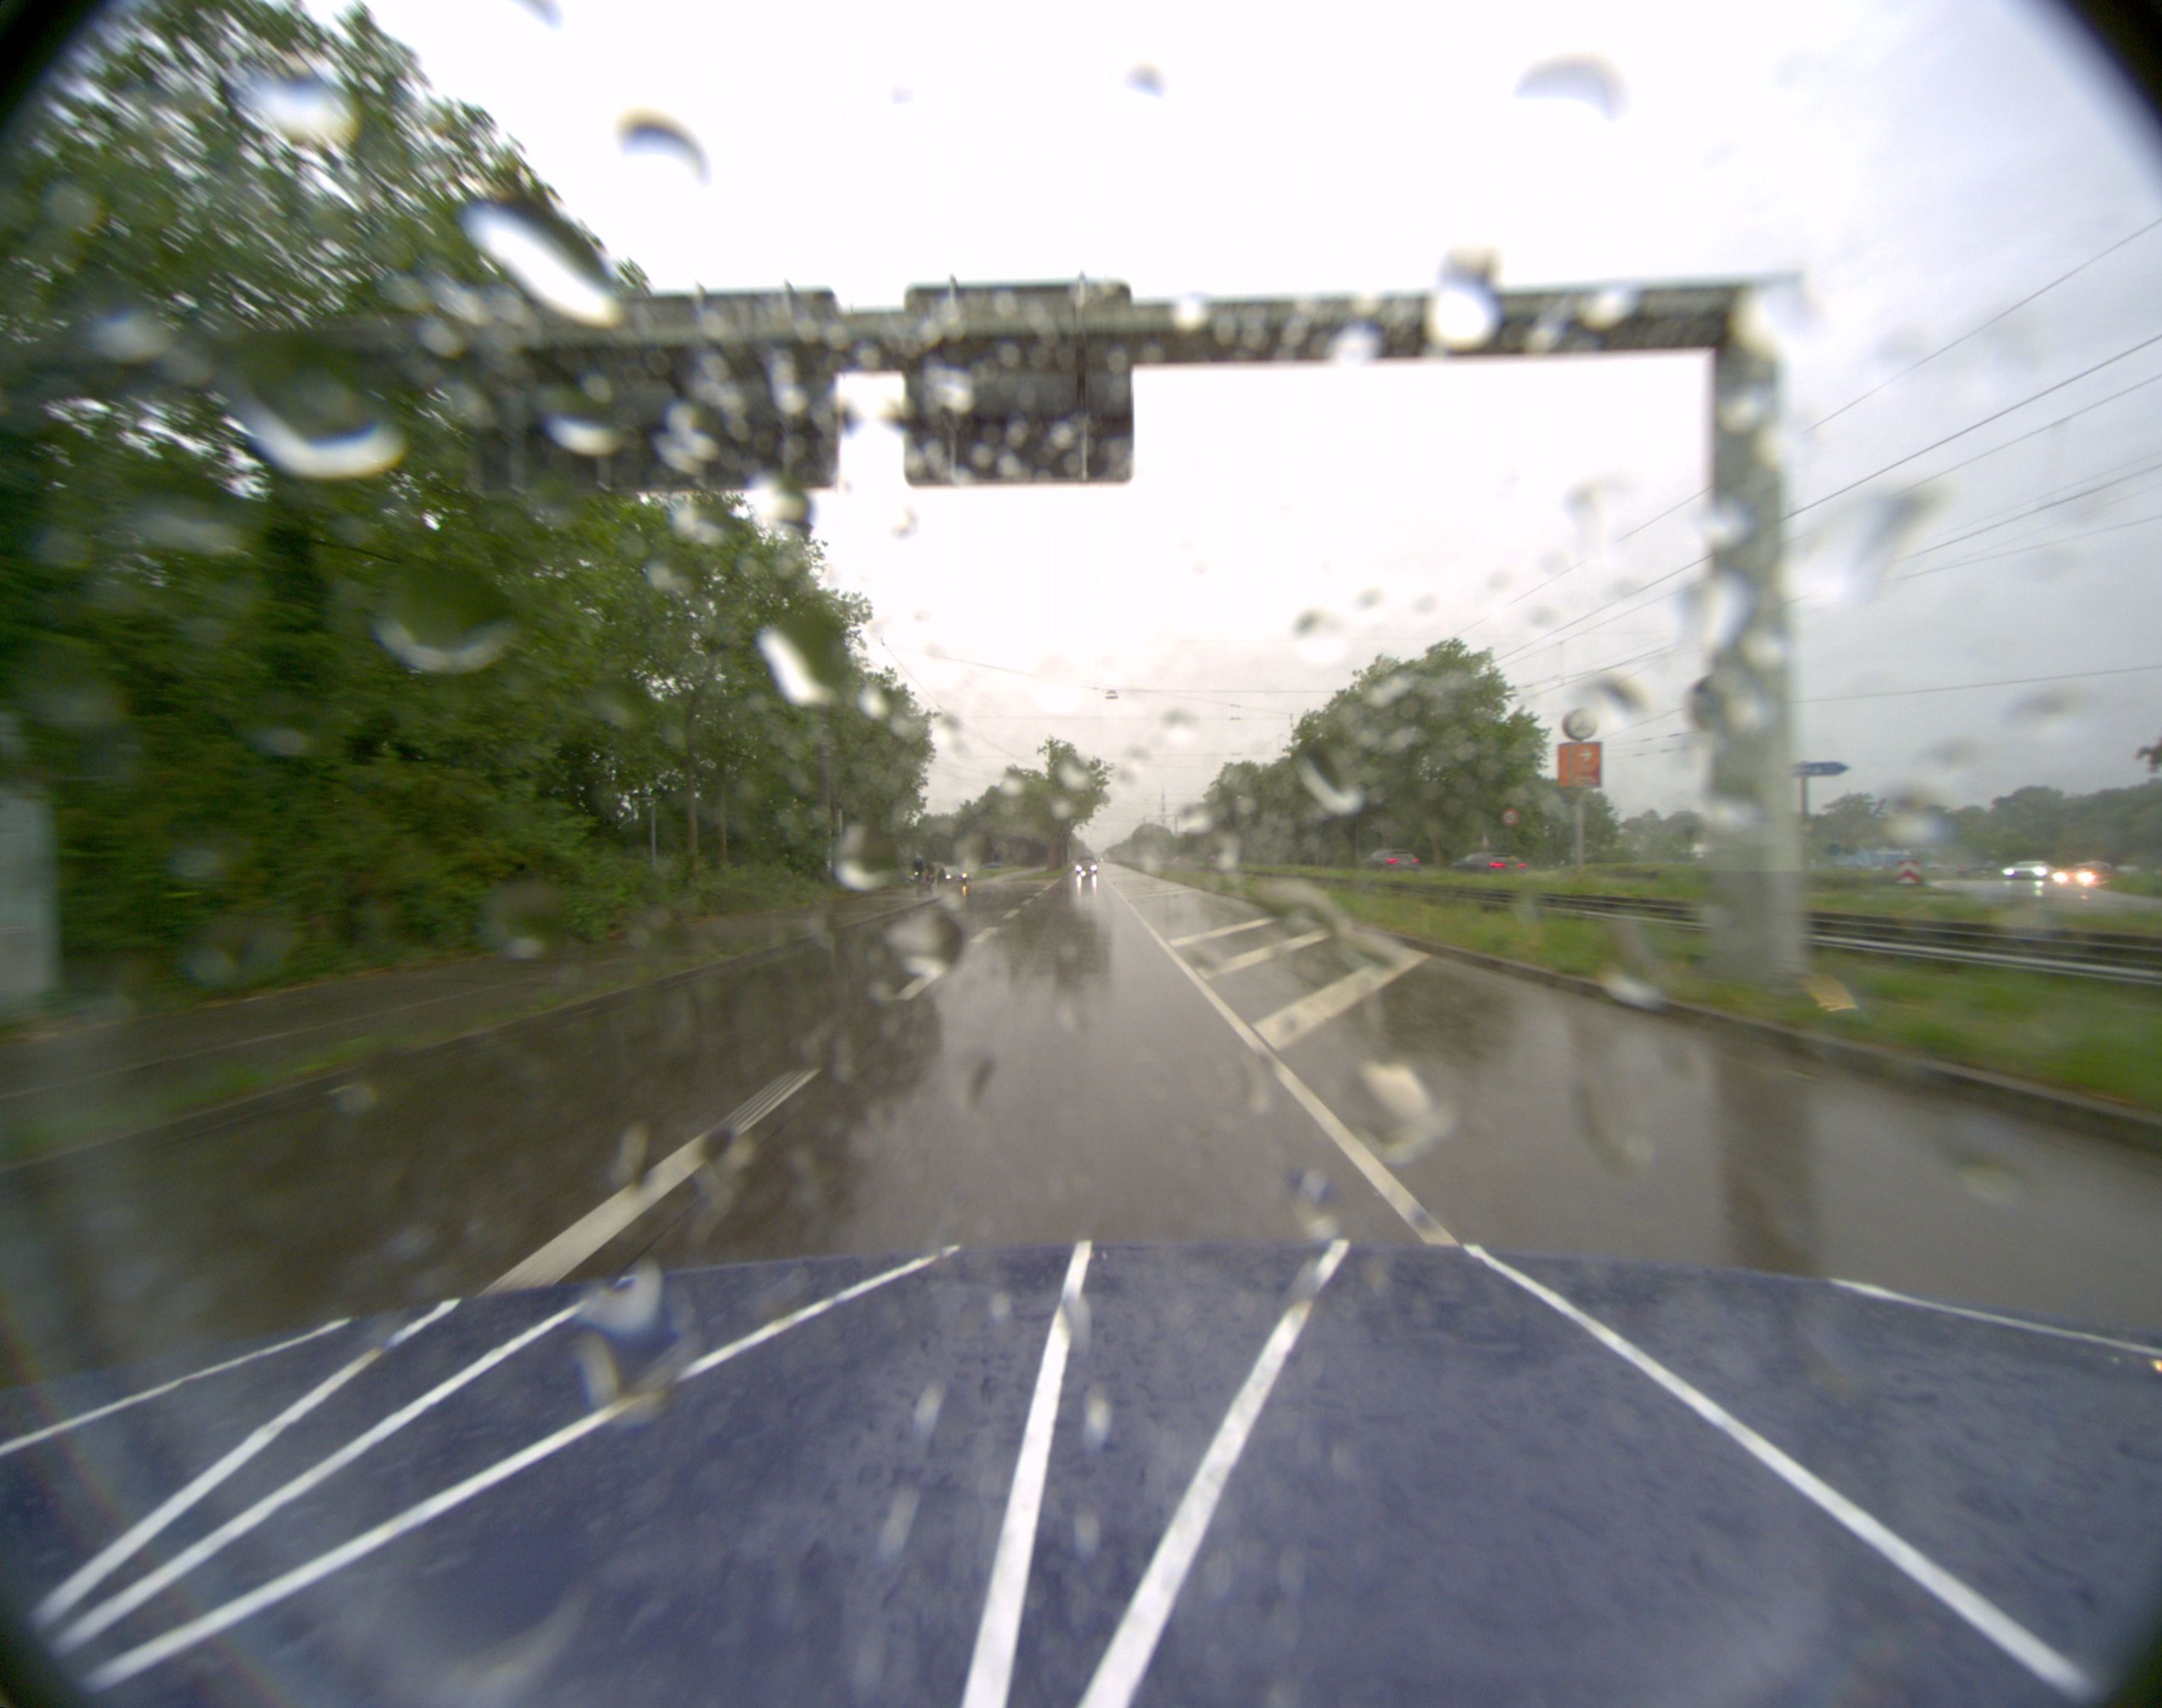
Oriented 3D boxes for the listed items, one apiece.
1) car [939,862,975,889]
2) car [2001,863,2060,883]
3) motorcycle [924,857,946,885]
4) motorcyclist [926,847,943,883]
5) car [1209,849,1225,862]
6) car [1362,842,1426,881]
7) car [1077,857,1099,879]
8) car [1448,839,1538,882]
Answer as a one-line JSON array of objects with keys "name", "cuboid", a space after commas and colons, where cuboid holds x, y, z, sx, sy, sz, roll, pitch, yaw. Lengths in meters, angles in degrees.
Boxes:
[{"name": "car", "cuboid": [-10.073, 1.714, 61.561, 2.002, 2.002, 3.993, -2, 0, -21]}, {"name": "car", "cuboid": [73.652, 1.459, 58.933, 4.496, 1.348, 1.604, -2, 0, -21]}, {"name": "motorcycle", "cuboid": [-9.348, 1.068, 48.685, 0.845, 1.710, 2.586, -2, 0, 0]}, {"name": "motorcyclist", "cuboid": [-9.339, 0.720, 48.503, 0.762, 2.246, 0.915, -2, 1, 0]}, {"name": "car", "cuboid": [22.682, 0.233, 126.958, 1.998, 2.002, 4.000, -2, 0, 1]}, {"name": "car", "cuboid": [17.569, 0.400, 42.863, 1.998, 2.002, 4.000, -2, 0, 1]}, {"name": "car", "cuboid": [0.700, 1.374, 74.074, 1.998, 2.002, 4.000, -2, 0, 1]}, {"name": "car", "cuboid": [20.965, 0.331, 38.895, 1.975, 2.002, 4.519, -2, 0, -3]}]
